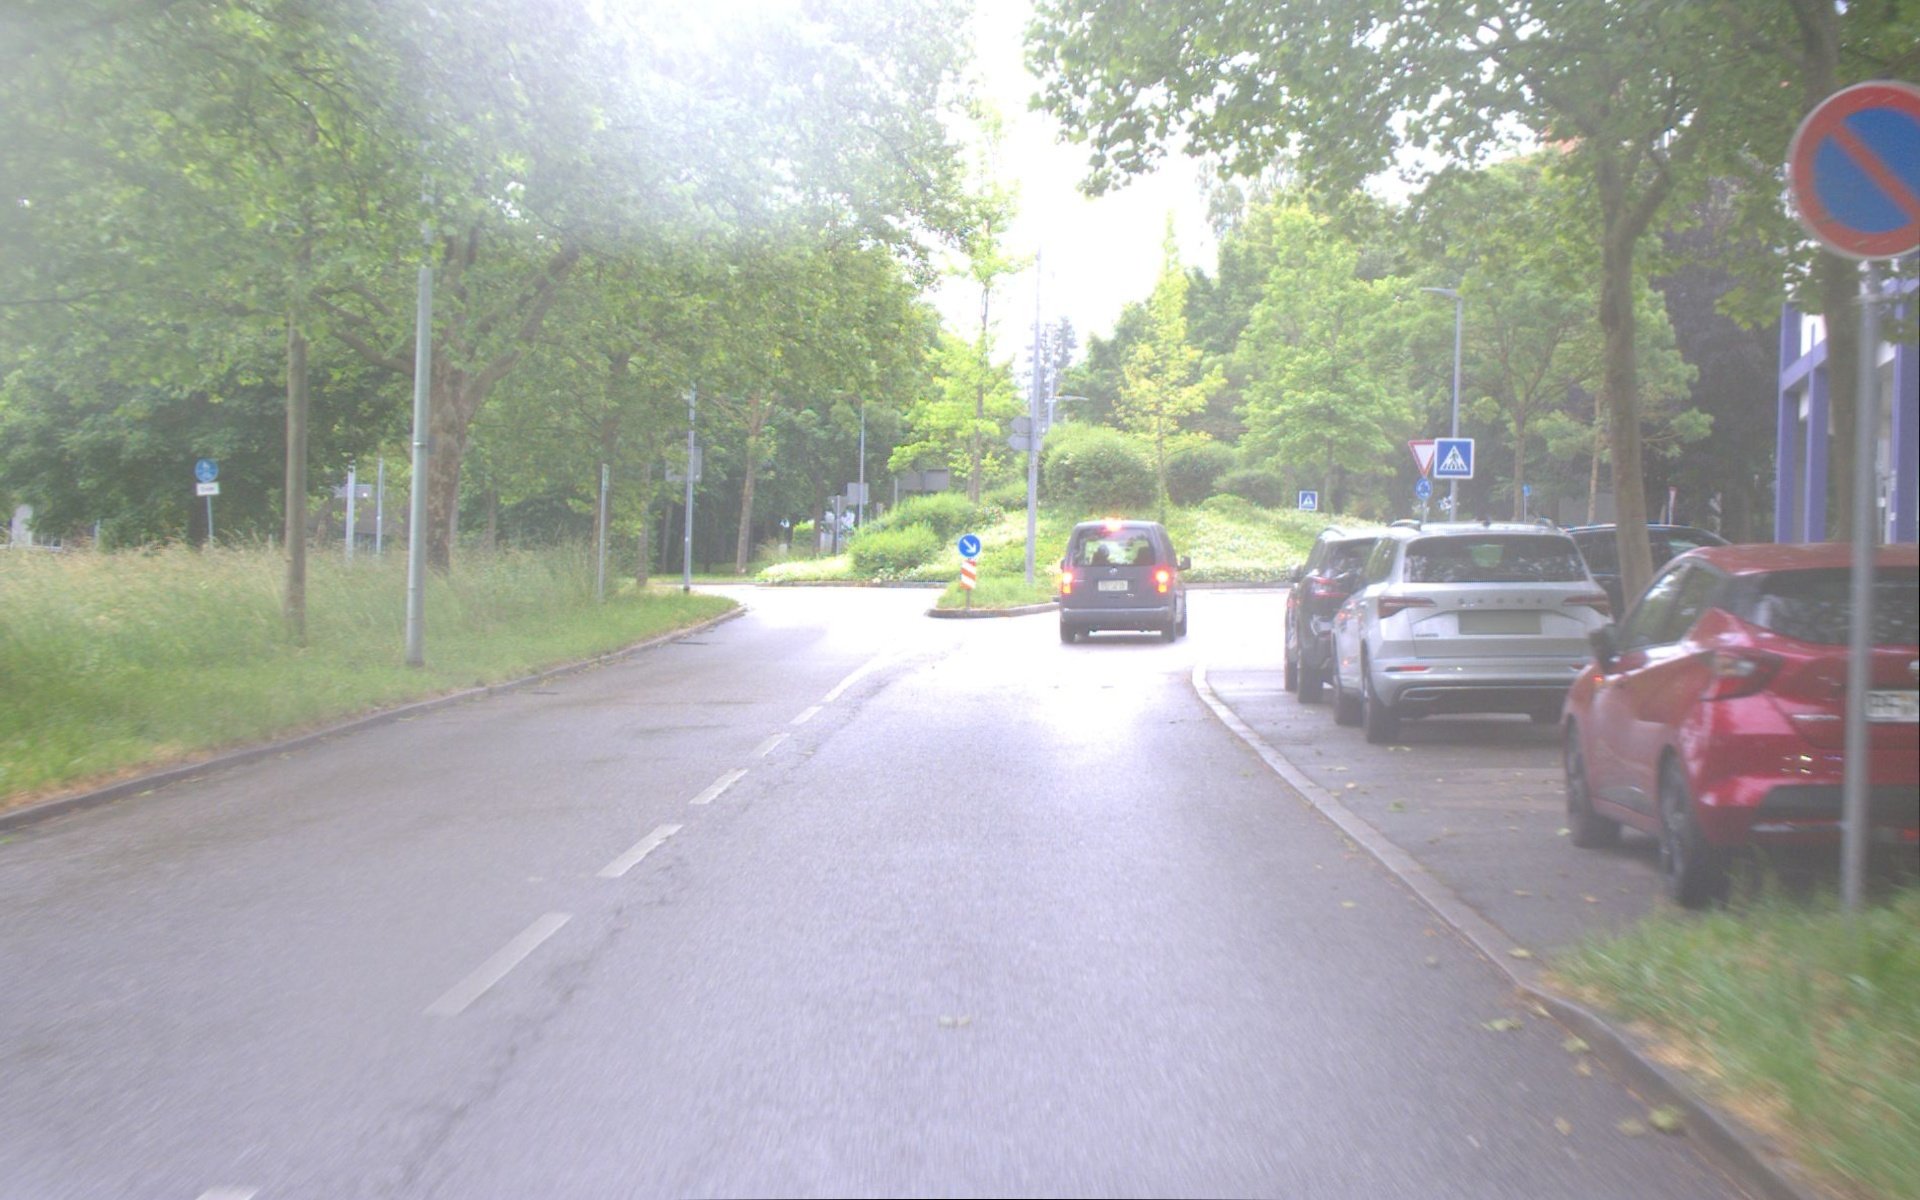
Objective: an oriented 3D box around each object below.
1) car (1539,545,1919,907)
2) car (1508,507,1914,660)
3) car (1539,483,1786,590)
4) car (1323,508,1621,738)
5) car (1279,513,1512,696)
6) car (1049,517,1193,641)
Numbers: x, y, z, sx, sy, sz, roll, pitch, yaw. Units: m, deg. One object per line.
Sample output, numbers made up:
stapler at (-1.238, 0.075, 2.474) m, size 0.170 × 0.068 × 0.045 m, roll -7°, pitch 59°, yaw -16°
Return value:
car at (3.670, 0.447, 14.858) m, size 1.797 × 1.367 × 3.744 m, roll 0°, pitch 1°, yaw 2°
car at (8.891, -0.217, 40.992) m, size 4.471 × 1.674 × 1.767 m, roll 1°, pitch 2°, yaw 4°
car at (13.215, -1.224, 64.896) m, size 4.379 × 1.753 × 1.829 m, roll 3°, pitch 3°, yaw 8°
car at (3.798, 0.129, 26.119) m, size 1.728 × 1.586 × 4.253 m, roll -1°, pitch 1°, yaw 2°
car at (4.008, 0.006, 32.237) m, size 1.801 × 1.596 × 4.371 m, roll 0°, pitch 1°, yaw 2°
car at (2.515, -0.350, 52.853) m, size 1.919 × 1.795 × 3.789 m, roll -1°, pitch 1°, yaw 7°
